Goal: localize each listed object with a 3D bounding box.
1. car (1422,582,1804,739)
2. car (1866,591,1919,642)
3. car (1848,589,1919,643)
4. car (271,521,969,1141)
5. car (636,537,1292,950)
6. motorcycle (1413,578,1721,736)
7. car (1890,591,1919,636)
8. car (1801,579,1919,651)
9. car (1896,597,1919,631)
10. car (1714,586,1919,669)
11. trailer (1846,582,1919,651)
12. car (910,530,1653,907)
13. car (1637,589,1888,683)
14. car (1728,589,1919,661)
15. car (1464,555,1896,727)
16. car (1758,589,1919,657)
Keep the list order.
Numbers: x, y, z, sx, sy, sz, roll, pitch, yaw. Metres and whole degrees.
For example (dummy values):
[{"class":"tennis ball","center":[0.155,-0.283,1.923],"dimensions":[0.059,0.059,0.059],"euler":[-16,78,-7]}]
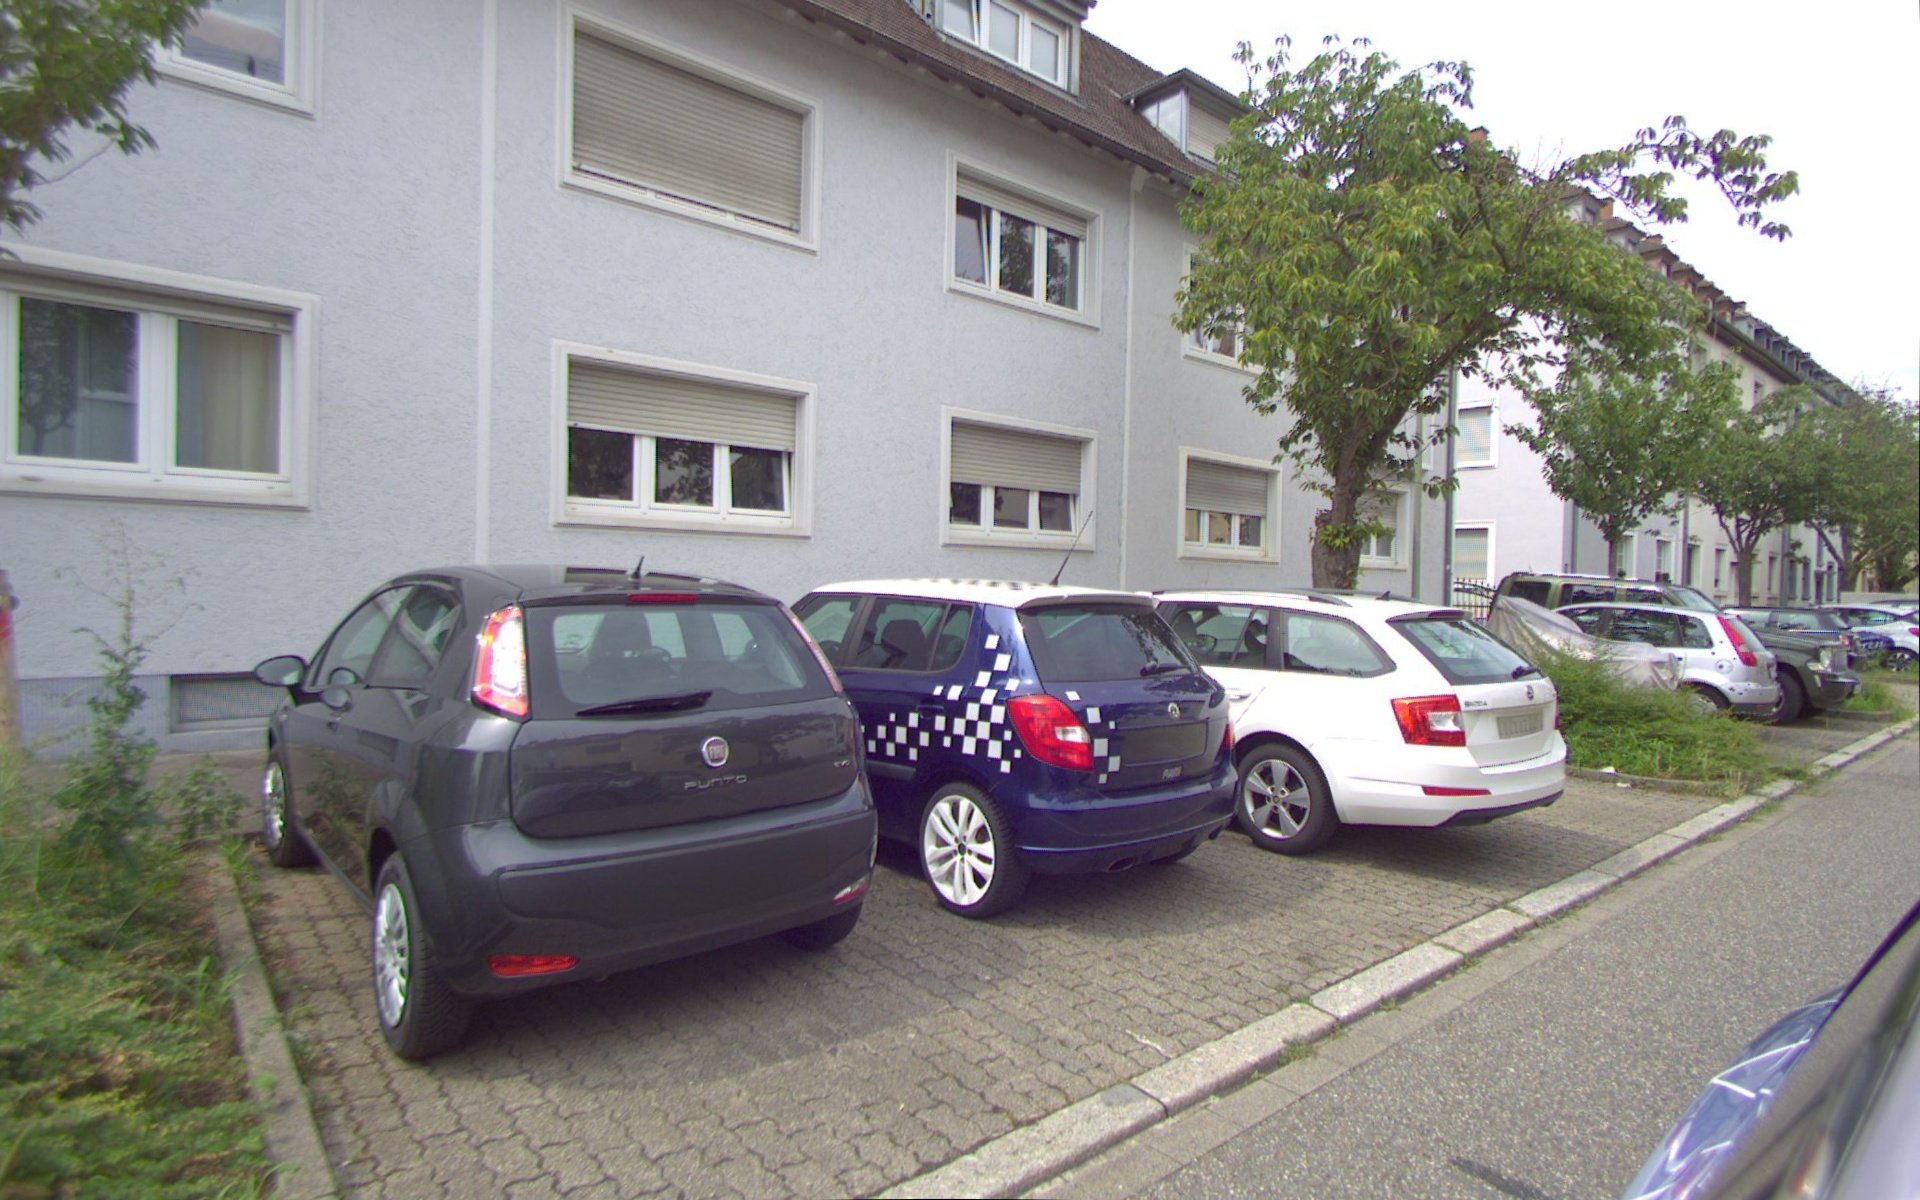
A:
[{"class":"car","center":[7.986,0.609,12.591],"dimensions":[1.743,1.472,3.630],"euler":[0,4,-43]},{"class":"car","center":[33.265,0.654,33.797],"dimensions":[1.871,1.617,4.223],"euler":[0,4,-41]},{"class":"car","center":[31.187,0.574,32.165],"dimensions":[1.871,1.617,4.223],"euler":[0,4,-42]},{"class":"car","center":[-1.902,0.461,4.597],"dimensions":[1.682,1.526,3.998],"euler":[0,4,-39]},{"class":"car","center":[-0.313,0.460,5.971],"dimensions":[1.682,1.526,3.998],"euler":[0,4,-39]},{"class":"motorcycle","center":[6.576,0.529,11.126],"dimensions":[1.014,1.482,2.704],"euler":[0,2,-43]},{"class":"car","center":[38.599,0.645,38.626],"dimensions":[1.868,1.698,4.229],"euler":[0,3,-37]},{"class":"car","center":[25.371,0.432,26.929],"dimensions":[1.868,1.756,4.229],"euler":[0,3,-37]},{"class":"car","center":[43.417,0.744,43.827],"dimensions":[1.609,1.437,3.997],"euler":[4,1,-40]},{"class":"car","center":[19.711,0.569,22.861],"dimensions":[1.738,1.548,3.994],"euler":[0,4,-42]},{"class":"trailer","center":[27.289,0.491,28.673],"dimensions":[1.374,1.853,2.971],"euler":[1,3,-36]},{"class":"car","center":[1.773,0.423,7.036],"dimensions":[1.858,1.684,4.628],"euler":[0,4,-38]},{"class":"car","center":[15.773,0.623,20.012],"dimensions":[1.777,1.470,3.552],"euler":[0,4,-40]},{"class":"car","center":[21.479,0.571,24.762],"dimensions":[1.738,1.427,3.994],"euler":[0,4,-42]},{"class":"car","center":[9.811,0.406,14.178],"dimensions":[1.759,1.880,4.540],"euler":[0,3,-37]},{"class":"car","center":[23.148,0.563,26.018],"dimensions":[1.831,1.459,3.759],"euler":[0,4,-38]}]
